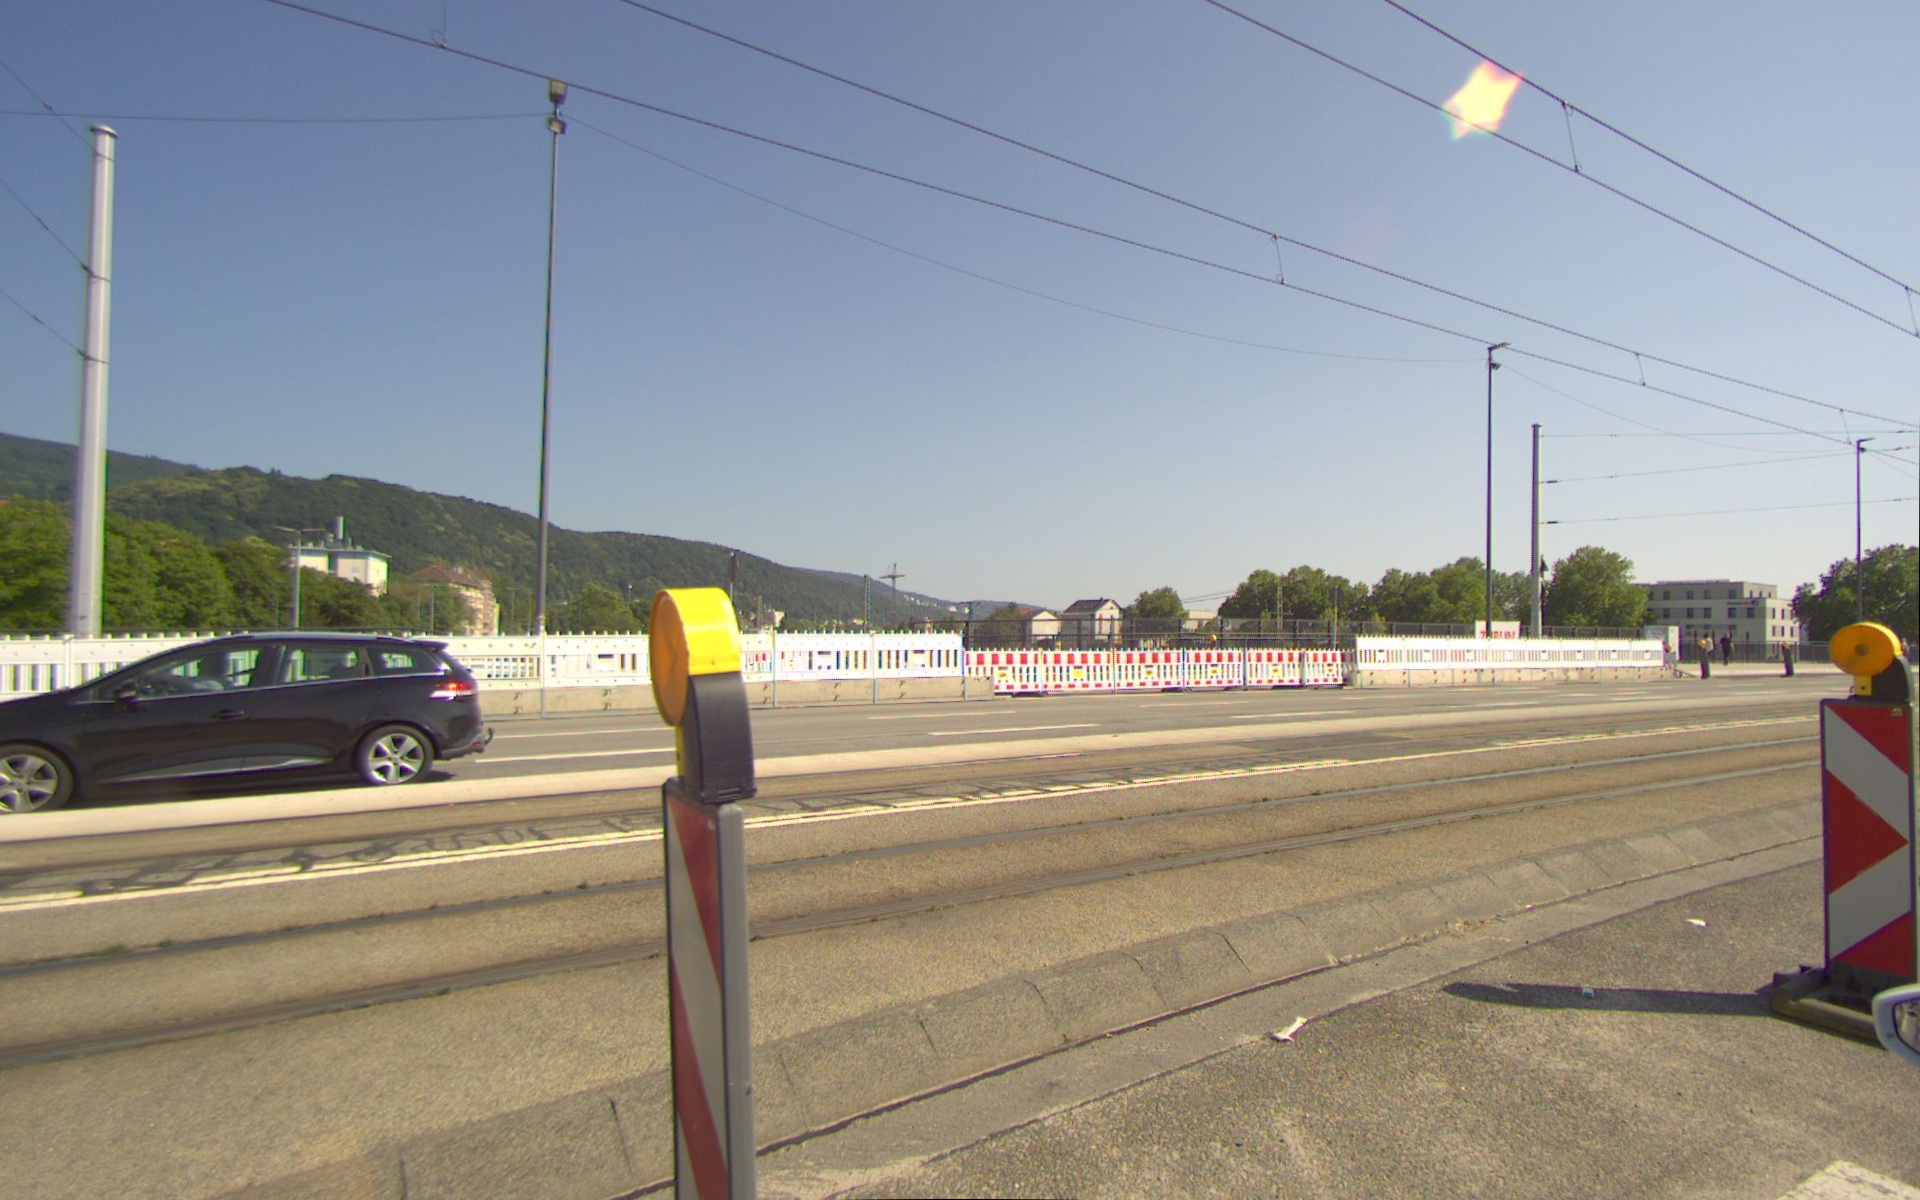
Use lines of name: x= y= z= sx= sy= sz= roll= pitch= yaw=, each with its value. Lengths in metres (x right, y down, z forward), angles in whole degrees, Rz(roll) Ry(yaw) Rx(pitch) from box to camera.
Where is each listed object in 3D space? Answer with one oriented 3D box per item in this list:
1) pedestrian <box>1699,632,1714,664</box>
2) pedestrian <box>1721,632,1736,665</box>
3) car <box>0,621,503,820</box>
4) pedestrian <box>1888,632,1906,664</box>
pedestrian: x=40.053 y=2.581 z=53.902 sx=0.468 sy=1.717 sz=0.493 roll=2 pitch=-1 yaw=-30
pedestrian: x=40.651 y=2.578 z=53.125 sx=0.468 sy=1.717 sz=0.493 roll=2 pitch=-1 yaw=-30
car: x=-6.511 y=0.985 z=9.131 sx=4.133 sy=1.520 sz=1.497 roll=1 pitch=-3 yaw=-33
pedestrian: x=56.796 y=2.915 z=60.887 sx=0.743 sy=1.919 sz=0.631 roll=1 pitch=-1 yaw=-30
